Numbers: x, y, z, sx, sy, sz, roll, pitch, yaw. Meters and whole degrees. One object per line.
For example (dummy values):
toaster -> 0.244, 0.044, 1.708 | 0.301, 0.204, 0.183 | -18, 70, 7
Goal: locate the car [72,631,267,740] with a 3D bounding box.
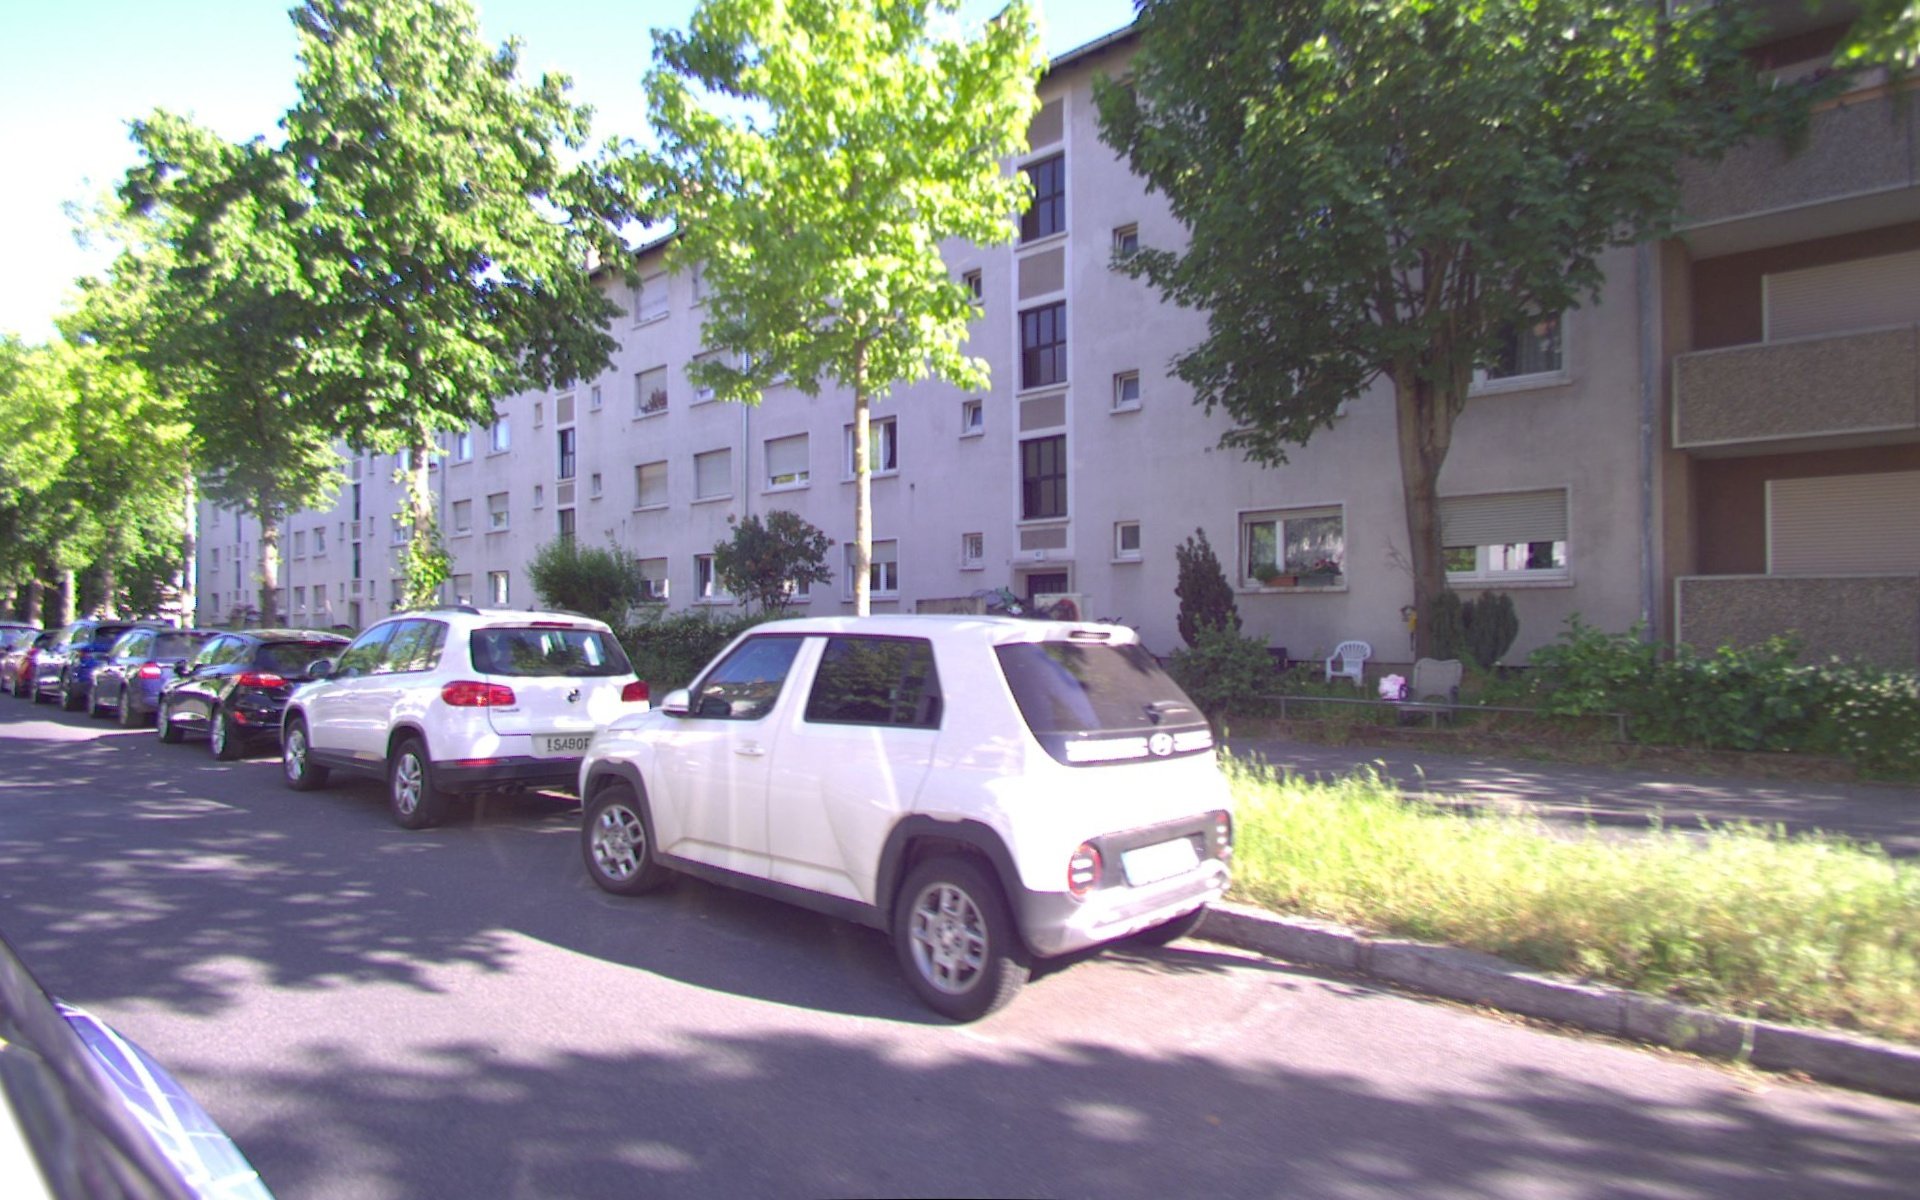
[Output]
car -> -12.426, 1.240, 15.822 | 3.965, 1.456, 1.632 | -1, -3, 41

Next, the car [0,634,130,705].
car -> -19.978, 1.468, 22.353 | 4.066, 1.385, 1.855 | -1, -3, 41

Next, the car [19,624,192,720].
car -> -16.139, 1.289, 19.042 | 4.405, 1.597, 1.796 | -2, -3, 41

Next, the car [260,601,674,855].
car -> -4.427, 0.903, 8.790 | 4.221, 1.692, 1.686 | -1, -3, 41

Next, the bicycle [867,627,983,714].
bicycle -> -0.607, 1.244, 18.515 | 0.721, 1.419, 2.240 | -1, 0, 44

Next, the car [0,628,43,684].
car -> -29.140, 1.639, 30.388 | 4.181, 1.574, 1.855 | -1, -3, 41

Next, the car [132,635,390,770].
car -> -8.831, 1.154, 12.654 | 4.234, 1.402, 1.640 | -2, -2, 41

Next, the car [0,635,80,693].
car -> -24.868, 1.629, 26.710 | 4.181, 1.385, 1.855 | -1, -3, 41

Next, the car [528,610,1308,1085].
car -> -0.465, 0.855, 5.321 | 3.997, 1.538, 1.699 | -1, 0, 40
